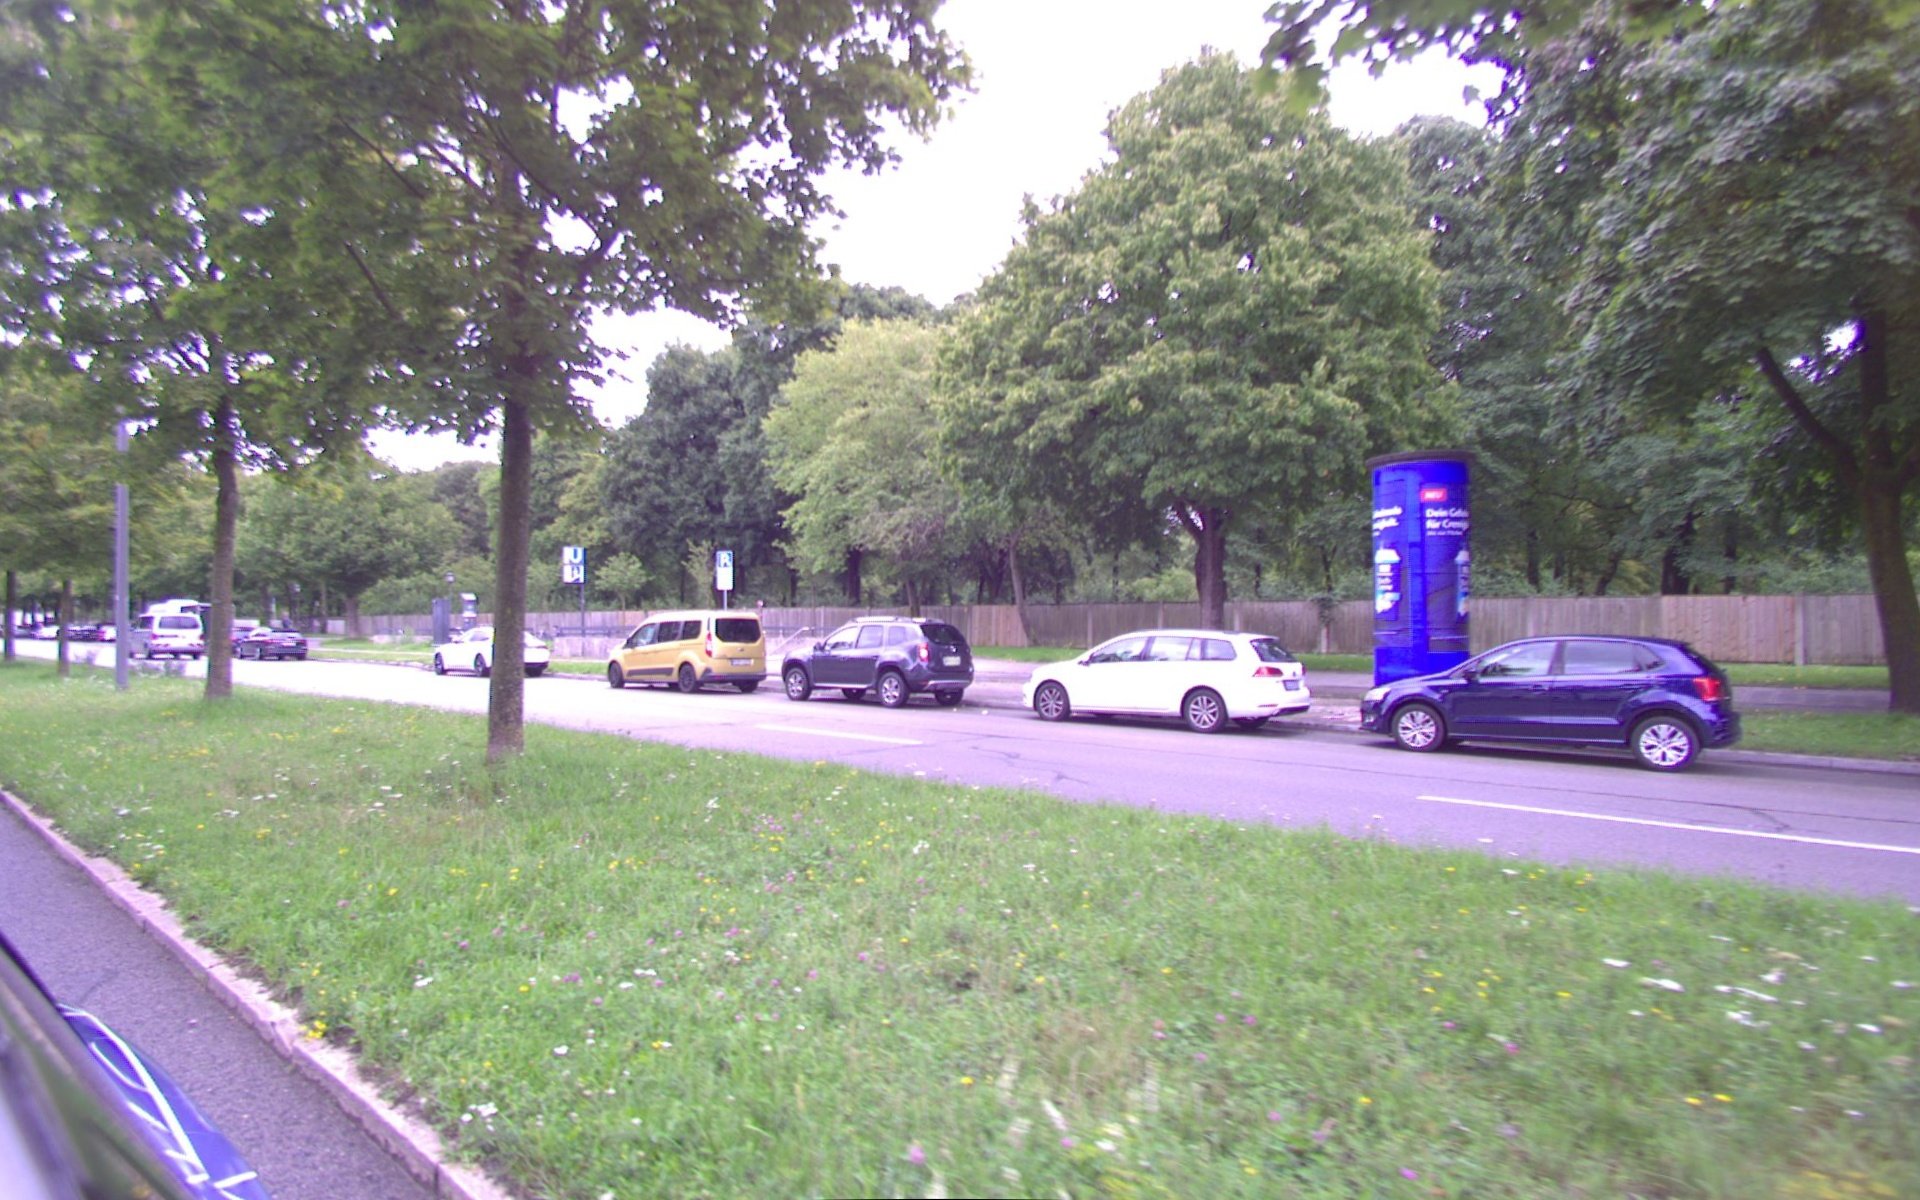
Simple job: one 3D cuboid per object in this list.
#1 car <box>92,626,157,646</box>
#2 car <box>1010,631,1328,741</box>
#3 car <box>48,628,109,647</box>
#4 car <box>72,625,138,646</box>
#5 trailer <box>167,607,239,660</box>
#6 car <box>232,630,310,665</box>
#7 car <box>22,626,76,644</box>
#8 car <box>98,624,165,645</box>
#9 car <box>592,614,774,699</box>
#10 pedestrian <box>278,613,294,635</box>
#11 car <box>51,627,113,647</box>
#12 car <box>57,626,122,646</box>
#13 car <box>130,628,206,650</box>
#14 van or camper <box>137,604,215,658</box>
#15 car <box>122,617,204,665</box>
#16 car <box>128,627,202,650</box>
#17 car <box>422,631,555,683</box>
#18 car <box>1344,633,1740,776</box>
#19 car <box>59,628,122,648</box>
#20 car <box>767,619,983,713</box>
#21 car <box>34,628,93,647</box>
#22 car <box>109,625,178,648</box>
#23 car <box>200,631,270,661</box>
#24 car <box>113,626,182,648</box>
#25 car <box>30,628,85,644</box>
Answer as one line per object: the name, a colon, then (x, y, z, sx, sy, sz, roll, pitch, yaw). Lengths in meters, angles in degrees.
car: (-70.354, 3.000, 85.268, 1.723, 1.466, 3.983, -2, 0, 13)
car: (3.092, 1.223, 15.587, 4.529, 1.461, 1.744, -2, -3, 40)
car: (-82.623, 3.484, 94.916, 1.870, 1.569, 3.990, -2, 0, 8)
car: (-73.123, 3.057, 86.621, 1.873, 1.569, 3.983, -2, 0, 13)
trailer: (-39.530, 1.753, 52.796, 4.656, 2.610, 1.995, -2, -3, 41)
car: (-30.338, 2.068, 44.519, 4.429, 1.436, 1.781, -2, -3, 41)
car: (-94.387, 3.574, 104.870, 1.760, 1.741, 3.992, -1, 0, 6)
car: (-68.094, 2.838, 83.227, 1.873, 1.474, 3.983, -2, 0, 13)
car: (-6.579, 1.290, 23.741, 4.816, 1.796, 1.795, -2, -3, 42)
pedestrian: (-54.513, 1.968, 81.841, 0.872, 1.781, 0.761, -1, -2, 37)
car: (-80.156, 3.376, 92.460, 1.870, 1.569, 3.990, -2, 0, 8)
car: (-75.467, 3.094, 87.824, 1.870, 1.569, 3.990, -2, 0, 8)
car: (-56.476, 2.769, 72.238, 1.780, 1.449, 4.316, -1, 0, 6)
van or camper: (-44.064, 1.759, 56.808, 7.543, 2.859, 2.014, -2, -3, 41)
car: (-34.395, 1.725, 43.609, 4.990, 1.948, 1.781, -1, -3, 40)
car: (-58.914, 2.827, 75.081, 1.780, 1.585, 4.316, -1, 0, 6)
car: (-14.512, 1.701, 31.025, 4.871, 1.484, 1.838, -2, -3, 40)
car: (6.814, 1.123, 12.058, 3.893, 1.428, 1.597, -1, -3, 39)
car: (-77.839, 3.363, 90.666, 1.870, 1.569, 3.990, -2, 0, 8)
car: (-1.735, 1.238, 19.834, 4.253, 1.658, 1.719, -2, -3, 40)
car: (-87.014, 3.615, 98.295, 1.870, 1.569, 3.990, -2, 0, 8)
car: (-63.548, 2.802, 78.852, 1.783, 1.599, 3.985, -2, 0, 12)
car: (-35.045, 2.216, 48.871, 4.236, 1.394, 1.781, -2, -3, 41)
car: (-61.497, 2.776, 76.648, 1.779, 1.497, 3.993, -2, 0, 6)
car: (-89.488, 3.558, 100.414, 1.574, 1.376, 3.987, -1, 0, 10)
